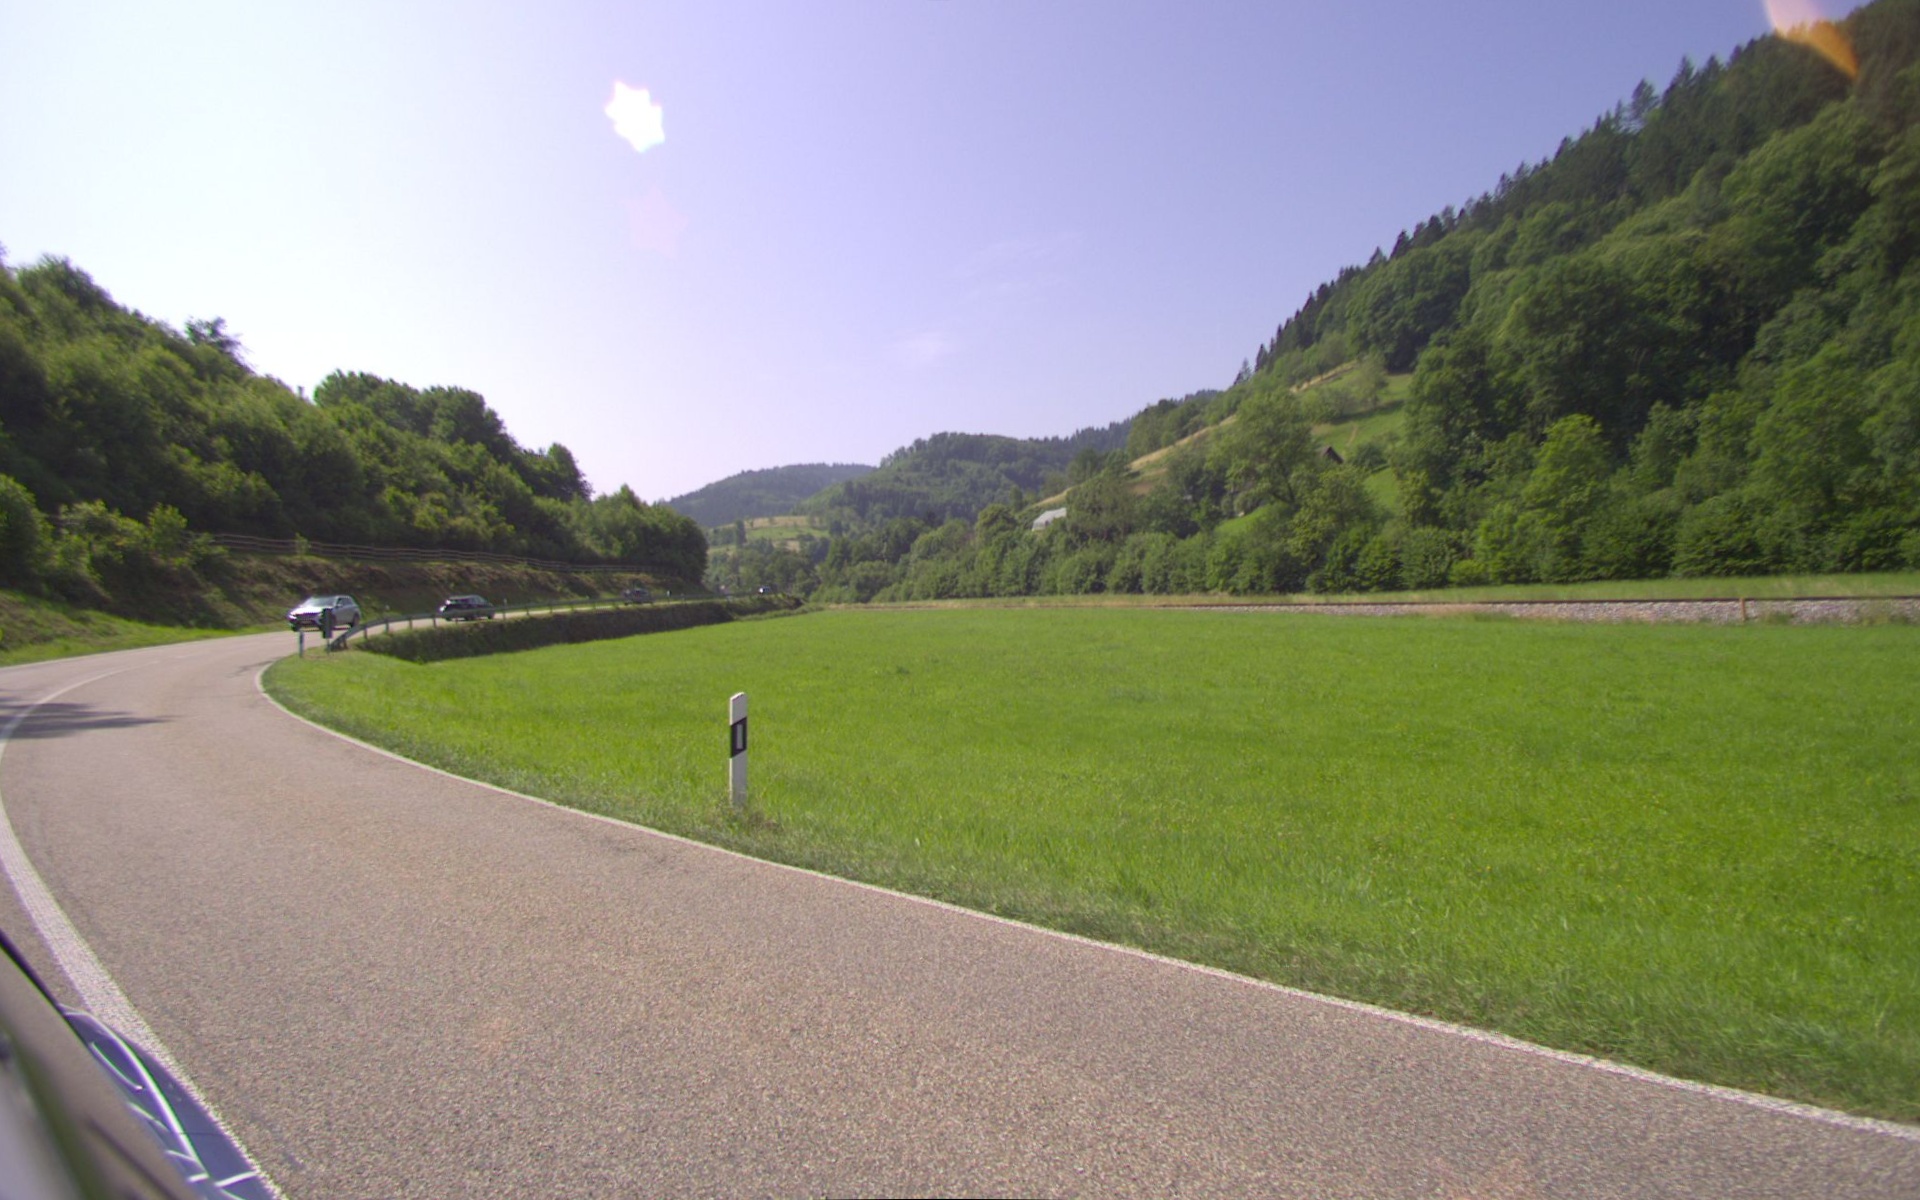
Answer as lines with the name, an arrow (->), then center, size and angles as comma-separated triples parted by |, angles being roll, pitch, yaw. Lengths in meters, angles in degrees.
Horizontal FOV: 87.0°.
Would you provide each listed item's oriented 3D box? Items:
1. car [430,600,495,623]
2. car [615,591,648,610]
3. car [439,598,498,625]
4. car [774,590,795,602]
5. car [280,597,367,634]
car -> -35.394, 0.817, 72.098 | 2.120, 1.502, 4.667 | -2, 0, 3
car -> -31.385, 0.110, 96.880 | 1.926, 1.753, 4.901 | -1, -1, -5
car -> -32.084, 0.714, 66.245 | 1.854, 1.599, 4.599 | -1, 1, -3
car -> -25.391, -0.572, 146.602 | 1.694, 1.688, 3.988 | -3, 0, 9
car -> -33.813, 0.813, 53.919 | 2.087, 1.828, 4.460 | -2, -1, -5
